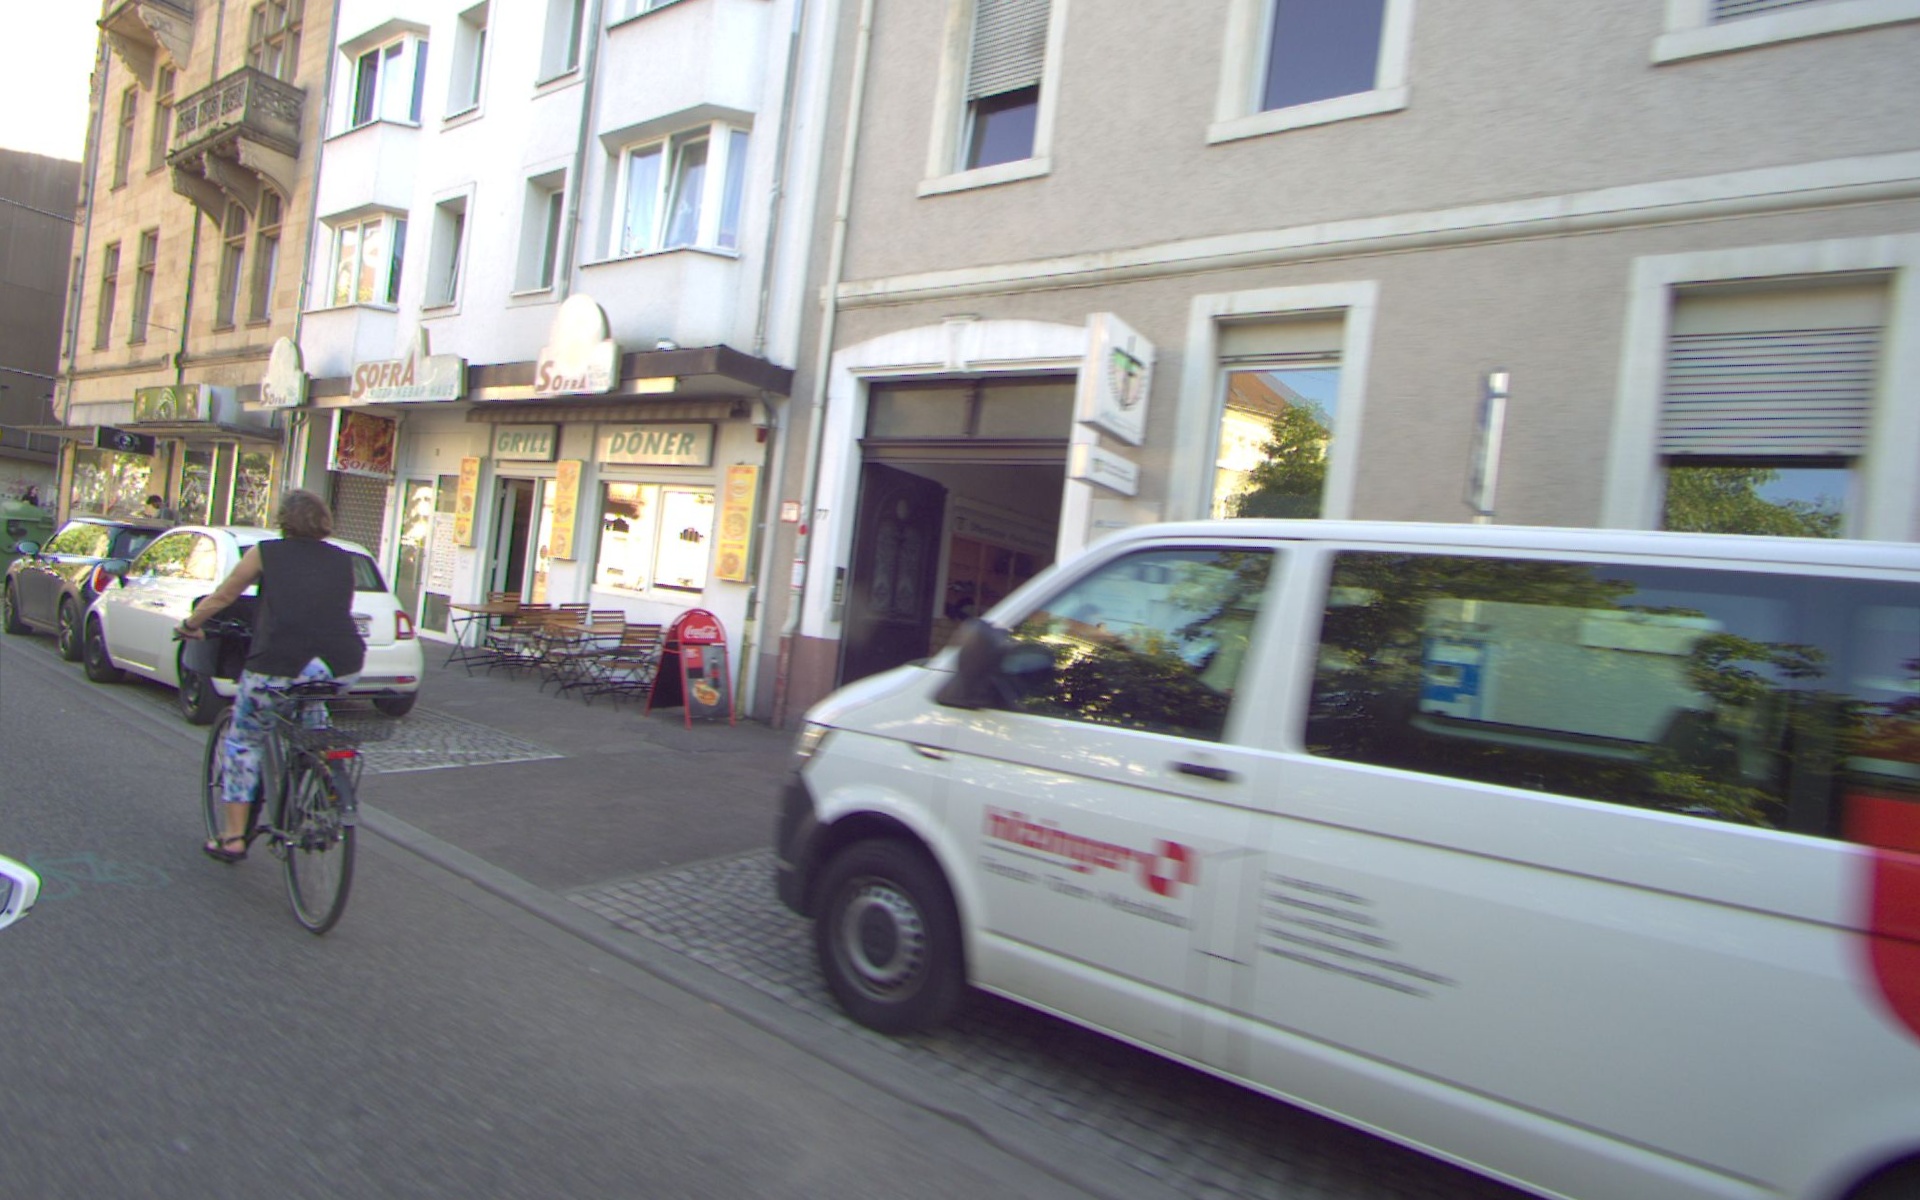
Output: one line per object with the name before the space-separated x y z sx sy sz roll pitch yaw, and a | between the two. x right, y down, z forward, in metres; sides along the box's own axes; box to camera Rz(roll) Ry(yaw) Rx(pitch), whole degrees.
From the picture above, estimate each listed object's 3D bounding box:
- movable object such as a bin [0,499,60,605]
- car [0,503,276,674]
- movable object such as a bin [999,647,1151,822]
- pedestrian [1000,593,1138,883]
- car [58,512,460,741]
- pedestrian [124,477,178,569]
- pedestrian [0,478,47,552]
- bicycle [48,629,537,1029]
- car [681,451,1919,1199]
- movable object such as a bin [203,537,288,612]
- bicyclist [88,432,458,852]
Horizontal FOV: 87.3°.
movable object such as a bin | -14.431 -0.761 15.167 1.471 1.477 1.071 8 3 41
car | -9.346 -0.172 11.147 3.727 1.464 1.679 5 -3 37
movable object such as a bin | 0.869 0.980 7.517 0.689 1.151 0.838 6 0 39
pedestrian | 0.674 0.792 6.156 0.451 1.631 0.748 6 6 36
car | -6.214 0.145 8.830 3.526 1.534 1.718 5 1 35
pedestrian | -16.778 -1.591 20.856 0.673 1.811 0.608 6 1 35
pedestrian | -25.744 -2.327 27.655 0.641 1.893 0.622 8 -2 -32
bicycle | -2.833 0.751 4.091 2.656 0.969 0.653 5 -2 35
car | 1.602 0.743 3.437 5.036 2.029 1.995 7 -1 35
movable object such as a bin | -12.326 -0.443 17.360 0.816 1.136 0.877 6 -2 36
bicyclist | -2.819 0.145 4.135 1.078 1.470 0.787 6 -2 35
